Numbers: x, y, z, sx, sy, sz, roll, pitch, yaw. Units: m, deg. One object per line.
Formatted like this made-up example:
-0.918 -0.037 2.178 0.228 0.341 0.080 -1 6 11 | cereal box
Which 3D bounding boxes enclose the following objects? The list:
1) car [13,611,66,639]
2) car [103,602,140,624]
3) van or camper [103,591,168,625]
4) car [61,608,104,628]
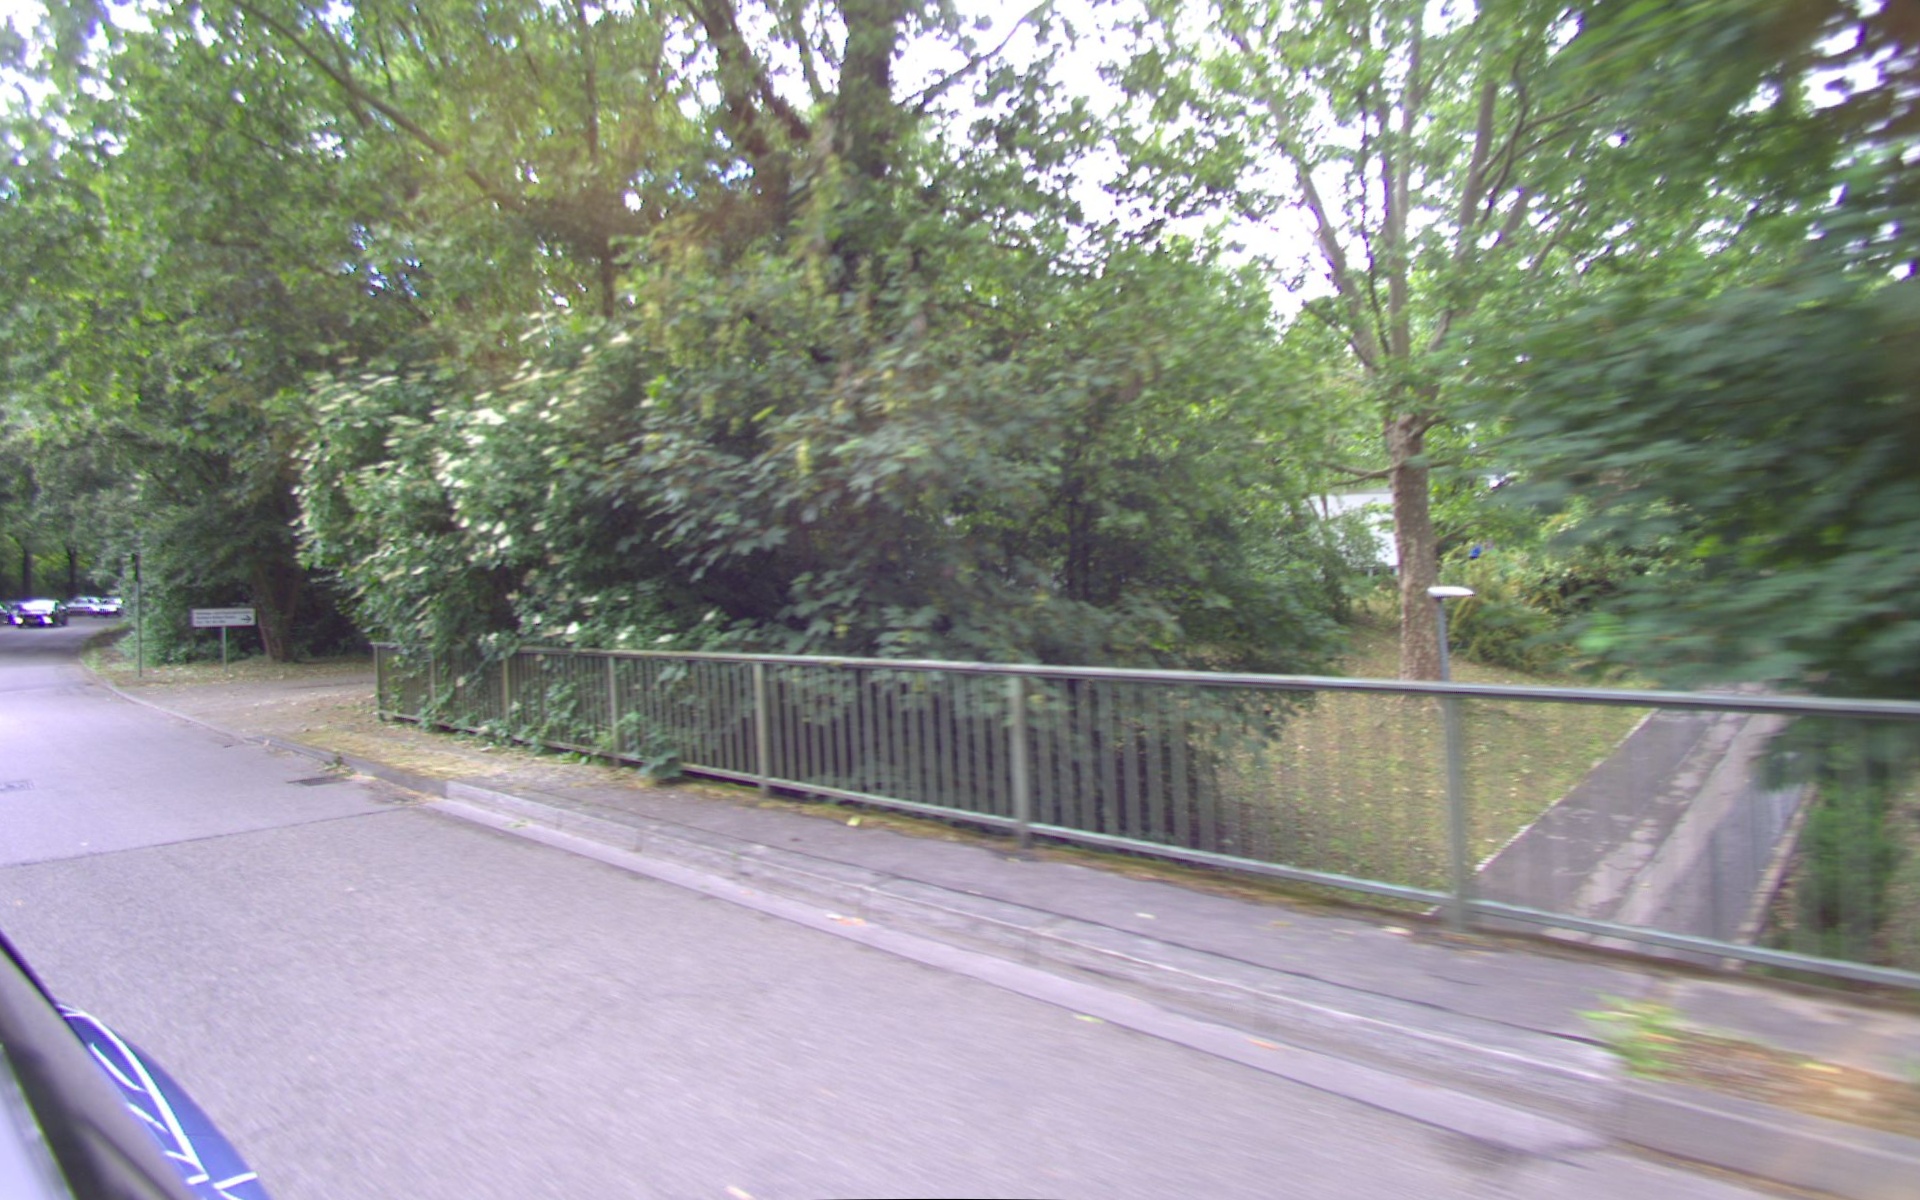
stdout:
-55.684 1.497 61.303 1.740 1.580 4.056 -2 1 -34 | car
-64.648 0.972 78.077 1.740 1.580 4.056 -2 1 -34 | car
-76.613 0.671 94.173 2.390 3.002 7.417 -2 1 -20 | van or camper
-71.732 1.483 82.779 1.665 1.493 4.120 -2 1 -27 | car
